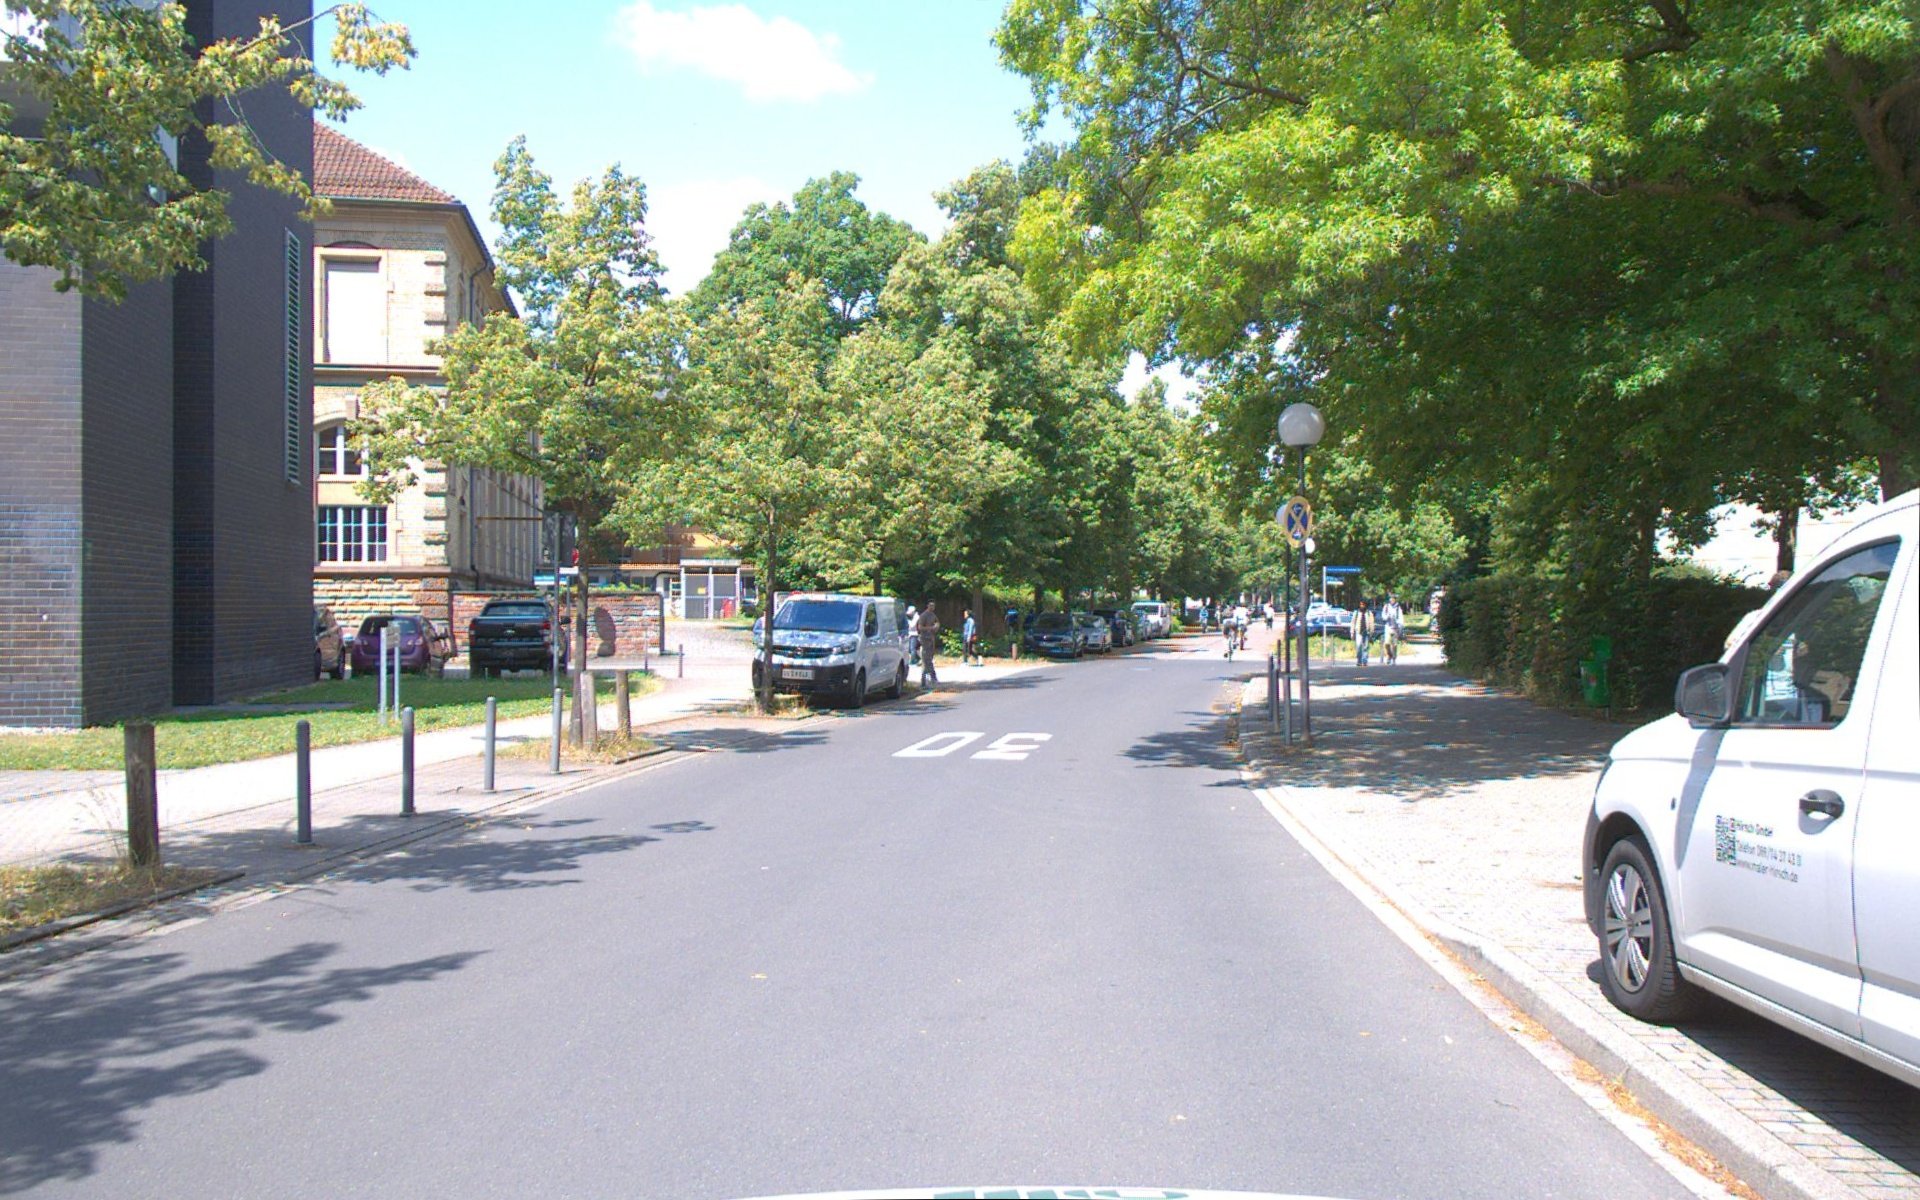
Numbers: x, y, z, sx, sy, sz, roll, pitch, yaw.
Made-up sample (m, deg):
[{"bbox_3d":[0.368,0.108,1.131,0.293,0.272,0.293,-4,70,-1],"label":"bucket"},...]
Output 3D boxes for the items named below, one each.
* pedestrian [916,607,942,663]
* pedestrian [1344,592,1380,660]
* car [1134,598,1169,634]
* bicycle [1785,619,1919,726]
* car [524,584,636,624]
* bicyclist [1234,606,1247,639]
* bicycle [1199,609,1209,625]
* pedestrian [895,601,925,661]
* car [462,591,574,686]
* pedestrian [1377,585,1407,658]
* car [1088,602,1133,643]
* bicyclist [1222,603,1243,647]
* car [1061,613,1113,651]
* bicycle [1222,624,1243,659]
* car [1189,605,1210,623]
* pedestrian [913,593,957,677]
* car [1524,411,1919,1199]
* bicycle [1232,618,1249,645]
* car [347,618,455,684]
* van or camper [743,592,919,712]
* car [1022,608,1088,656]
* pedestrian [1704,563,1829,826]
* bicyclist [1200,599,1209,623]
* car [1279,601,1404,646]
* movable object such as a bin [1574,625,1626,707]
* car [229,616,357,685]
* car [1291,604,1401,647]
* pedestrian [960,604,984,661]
[{"bbox_3d":[-0.863,0.965,46.106,0.577,1.554,0.490,0,-1,-27],"label":"pedestrian"},{"bbox_3d":[10.666,0.687,43.877,0.804,1.786,0.840,-1,0,21],"label":"pedestrian"},{"bbox_3d":[10.139,0.855,87.349,1.581,1.847,4.003,0,0,11],"label":"car"},{"bbox_3d":[10.173,0.793,18.840,0.489,1.138,1.870,0,0,-5],"label":"bicycle"},{"bbox_3d":[-15.052,0.150,65.552,4.040,1.543,1.741,0,0,-27],"label":"car"},{"bbox_3d":[11.305,0.902,66.625,0.511,1.318,0.611,0,0,11],"label":"bicyclist"},{"bbox_3d":[15.485,1.089,104.738,0.565,1.018,1.425,0,0,11],"label":"bicycle"},{"bbox_3d":[-1.436,0.876,47.196,0.622,1.692,0.595,0,-1,-36],"label":"pedestrian"},{"bbox_3d":[-9.860,0.814,37.221,2.137,1.959,5.170,0,0,-12],"label":"car"},{"bbox_3d":[11.449,0.558,43.823,0.658,1.905,0.792,-1,-1,22],"label":"pedestrian"},{"bbox_3d":[6.615,0.970,72.422,1.581,1.708,4.003,0,0,11],"label":"car"},{"bbox_3d":[8.146,0.737,49.472,0.596,1.318,0.611,0,0,11],"label":"bicyclist"},{"bbox_3d":[4.945,1.219,63.887,1.581,1.412,4.003,0,0,11],"label":"car"},{"bbox_3d":[8.141,1.243,49.418,0.601,1.018,1.425,0,0,11],"label":"bicycle"},{"bbox_3d":[19.479,1.131,134.222,1.581,1.388,4.003,0,0,10],"label":"car"},{"bbox_3d":[-0.564,0.794,37.584,0.710,1.889,0.790,-1,-1,28],"label":"pedestrian"},{"bbox_3d":[3.226,0.493,4.308,1.810,1.924,4.890,-1,0,0],"label":"car"},{"bbox_3d":[11.277,1.270,66.475,0.601,1.018,1.425,-1,0,11],"label":"bicycle"},{"bbox_3d":[-12.346,1.092,36.722,1.785,1.347,3.757,0,0,-11],"label":"car"},{"bbox_3d":[-2.221,0.867,30.282,1.912,1.957,5.425,1,0,10],"label":"van or camper"},{"bbox_3d":[3.270,1.066,56.427,1.722,1.548,4.115,0,0,11],"label":"car"},{"bbox_3d":[5.918,0.668,12.135,0.619,1.853,0.719,-1,-1,44],"label":"pedestrian"},{"bbox_3d":[15.471,0.680,104.726,0.551,1.525,0.828,0,0,11],"label":"bicyclist"},{"bbox_3d":[14.075,0.876,61.213,4.389,1.552,1.812,-1,-1,12],"label":"car"},{"bbox_3d":[8.641,0.888,22.348,0.479,1.091,0.505,0,0,-3],"label":"movable object such as a bin"},{"bbox_3d":[-14.528,1.063,36.221,1.785,1.347,4.151,2,-1,-11],"label":"car"},{"bbox_3d":[15.369,1.012,65.957,4.165,1.616,1.812,-1,-1,12],"label":"car"},{"bbox_3d":[0.330,0.933,47.344,0.490,1.613,0.487,0,-1,-38],"label":"pedestrian"}]
